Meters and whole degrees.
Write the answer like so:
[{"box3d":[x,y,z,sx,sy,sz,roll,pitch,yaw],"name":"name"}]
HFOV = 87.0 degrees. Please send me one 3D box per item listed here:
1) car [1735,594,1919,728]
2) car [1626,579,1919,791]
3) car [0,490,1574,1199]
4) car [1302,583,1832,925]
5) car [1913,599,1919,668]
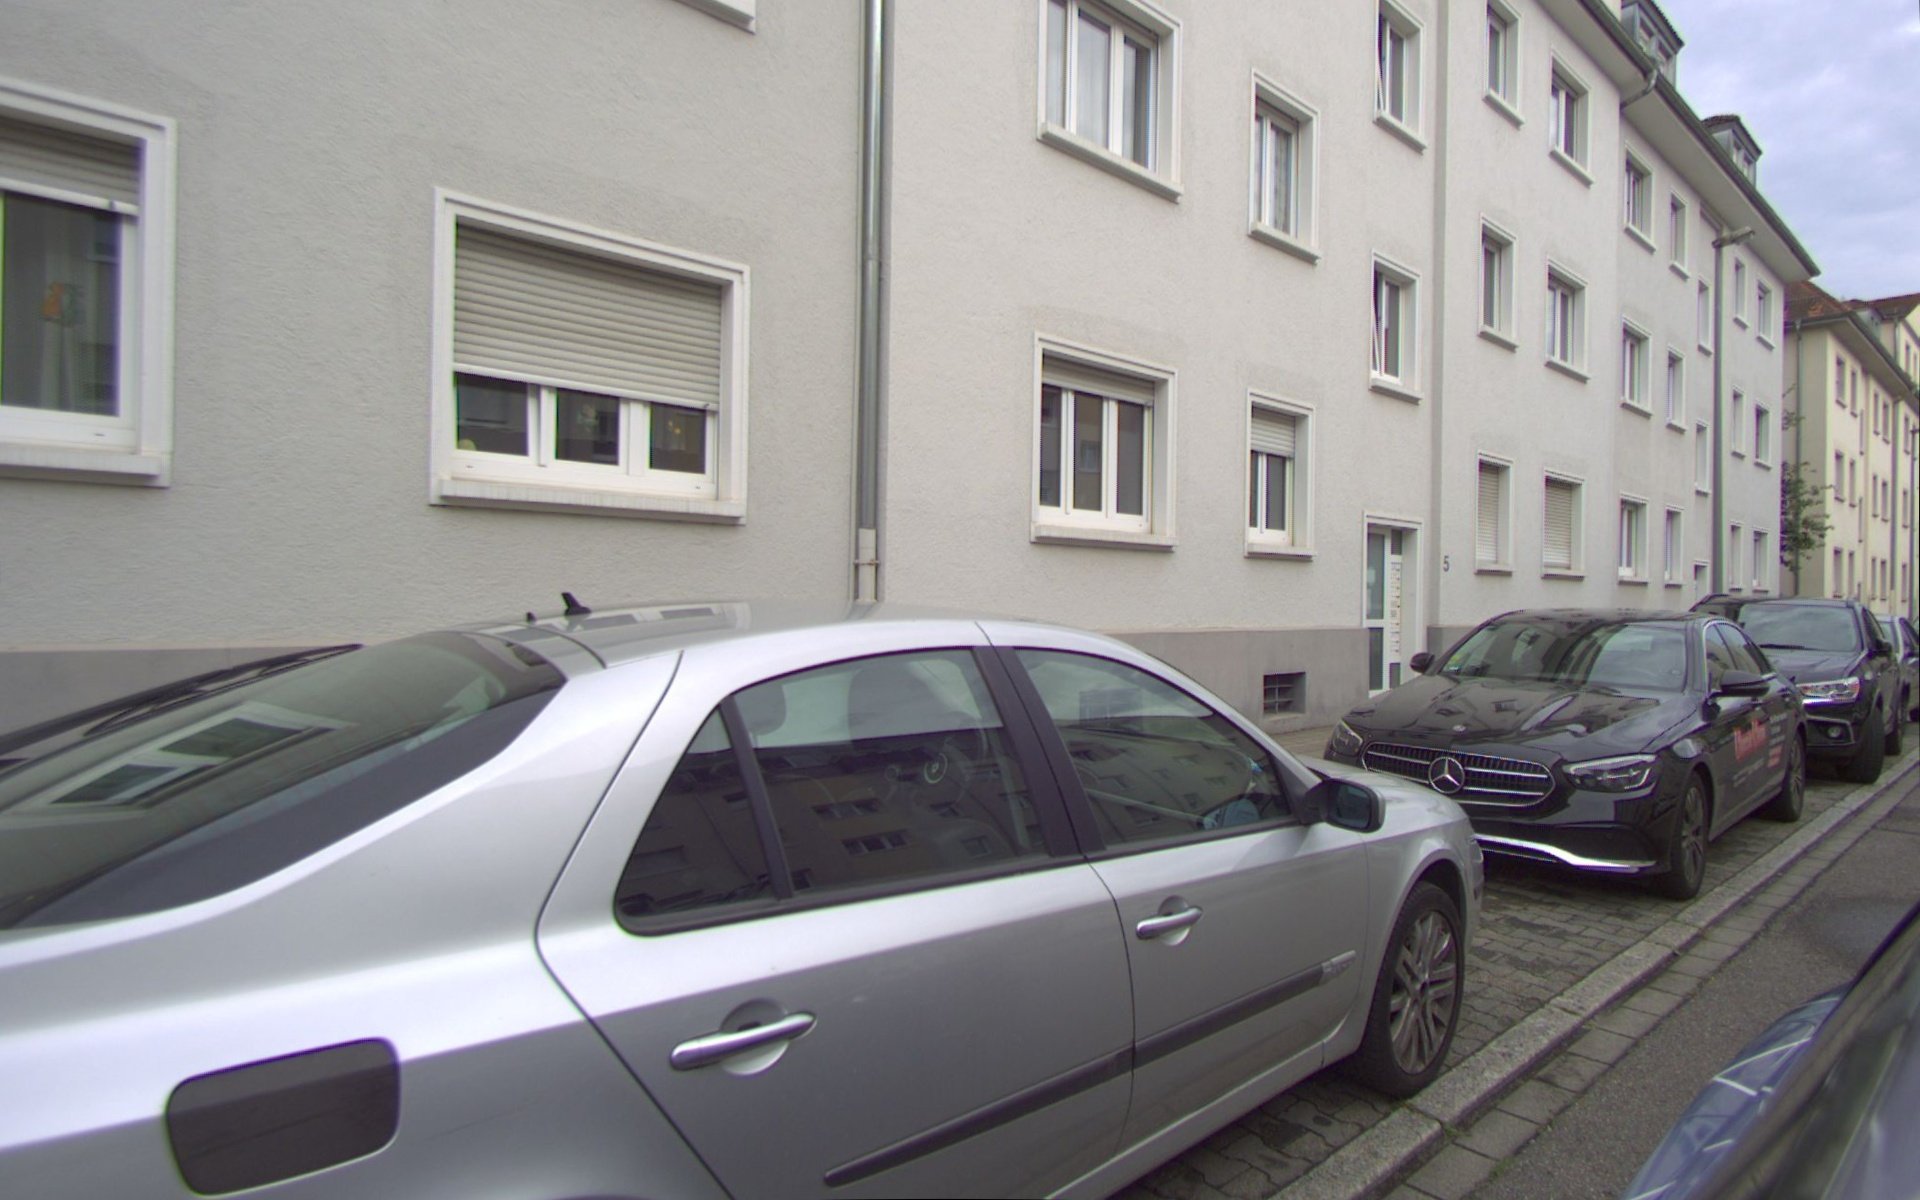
[{"box3d":[11.832,0.714,13.436,3.690,1.506,1.736,1,0,-41],"name":"car"},{"box3d":[8.168,0.666,9.862,4.089,1.619,1.851,1,0,-42],"name":"car"},{"box3d":[0.027,0.649,2.830,4.354,1.481,1.735,1,0,-42],"name":"car"},{"box3d":[4.119,0.686,6.530,4.249,1.481,1.784,1,0,-42],"name":"car"},{"box3d":[23.569,0.778,23.564,3.615,1.566,1.735,0,1,-42],"name":"car"}]
